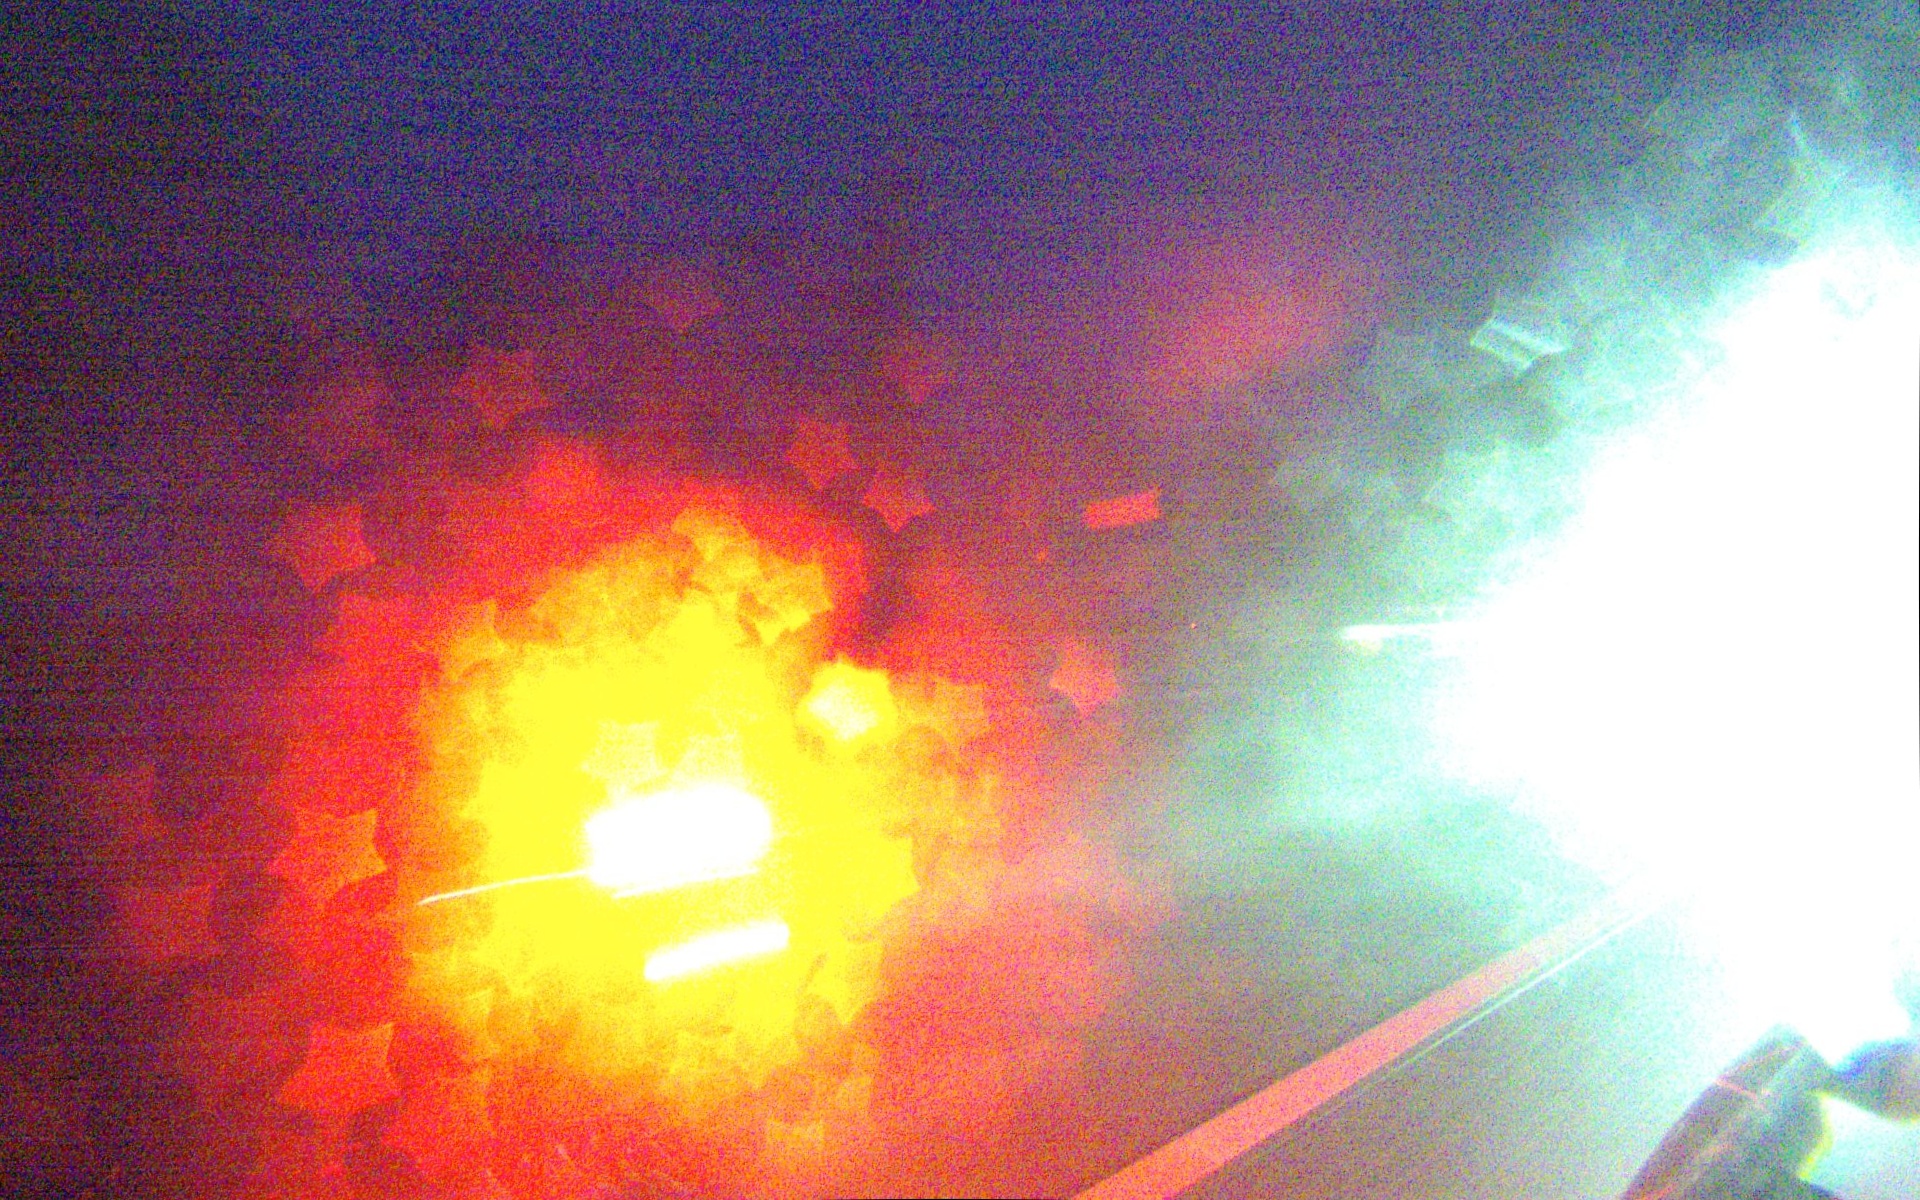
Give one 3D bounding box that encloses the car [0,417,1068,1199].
[{"bbox_3d":[-1.819,0.572,2.141,4.185,1.638,1.802,0,-1,-43],"label":"car"}]
